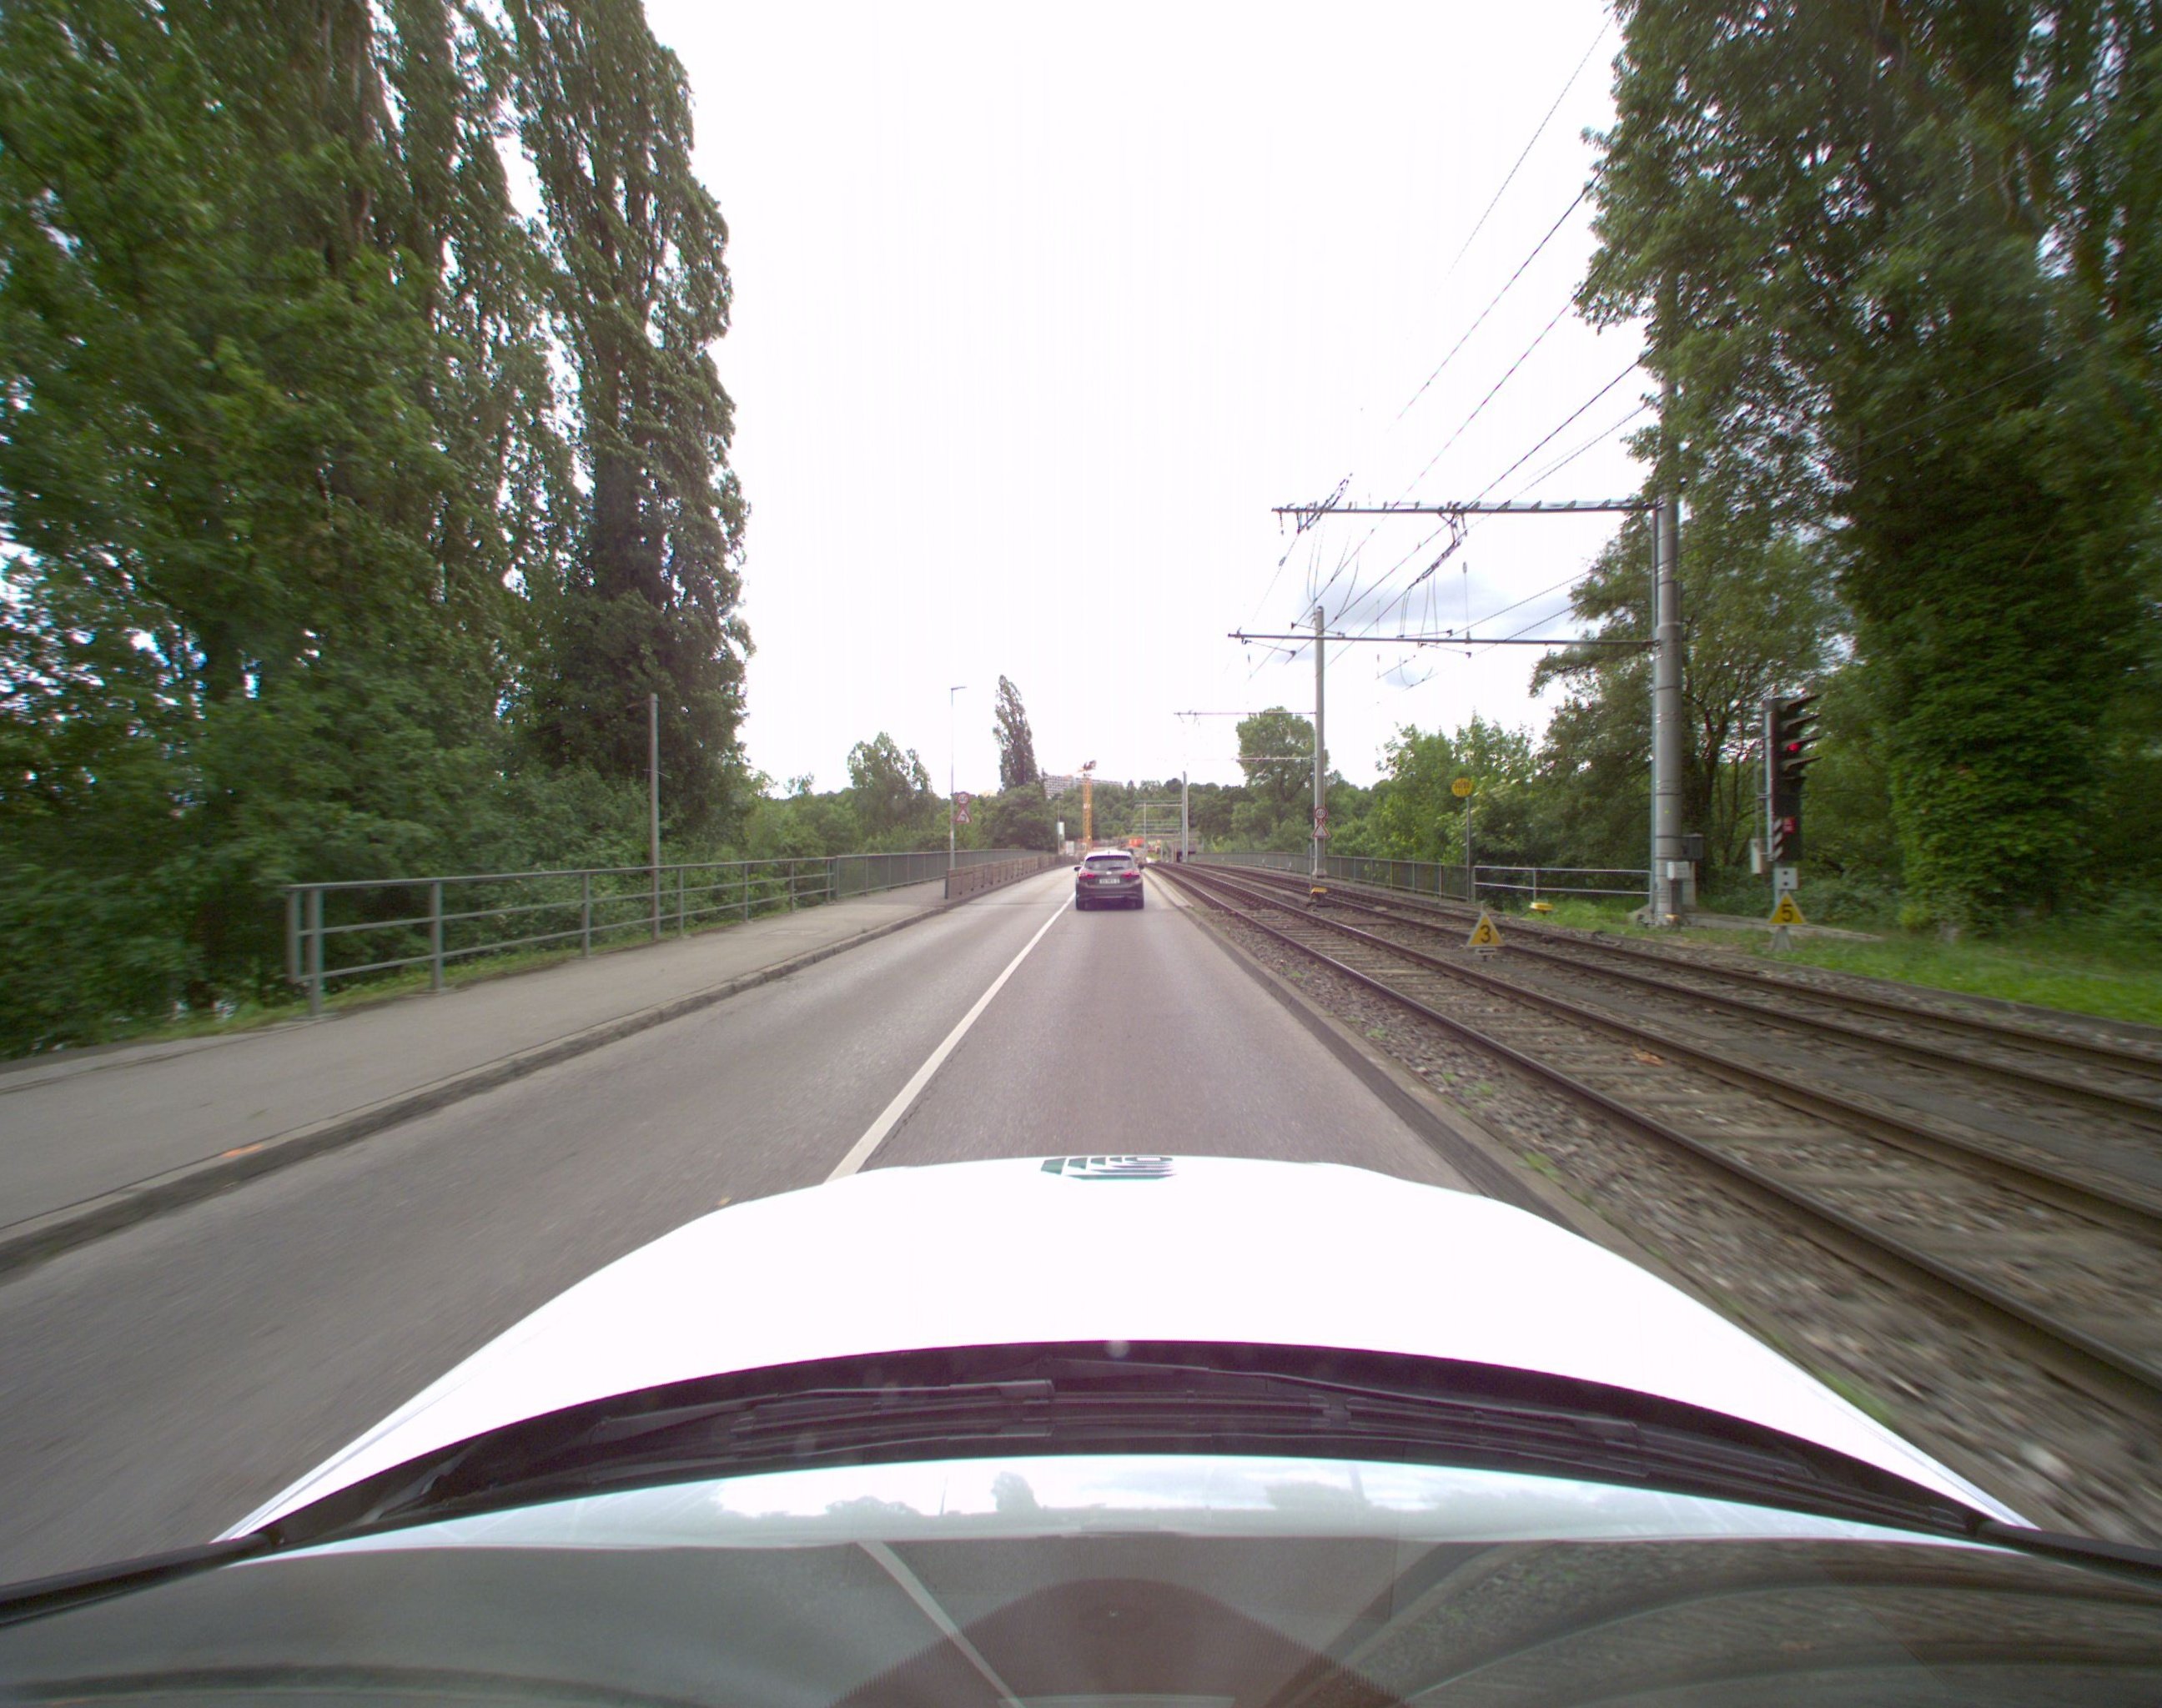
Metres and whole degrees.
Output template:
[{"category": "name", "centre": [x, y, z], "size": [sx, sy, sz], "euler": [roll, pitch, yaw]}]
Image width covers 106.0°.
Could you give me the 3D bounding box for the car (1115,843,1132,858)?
[{"category": "car", "centre": [4.739, -0.366, 91.203], "size": [1.674, 1.606, 4.309], "euler": [0, 1, 0]}]

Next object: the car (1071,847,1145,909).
[{"category": "car", "centre": [0.654, 0.632, 22.428], "size": [1.824, 1.510, 3.998], "euler": [-1, -1, -1]}]

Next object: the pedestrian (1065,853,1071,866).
[{"category": "pedestrian", "centre": [-1.778, 0.743, 111.967], "size": [0.718, 1.839, 0.723], "euler": [-1, -1, 2]}]

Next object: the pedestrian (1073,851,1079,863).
[{"category": "pedestrian", "centre": [-0.716, 0.419, 111.235], "size": [0.718, 1.701, 0.723], "euler": [-1, -1, 2]}]

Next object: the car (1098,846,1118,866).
[{"category": "car", "centre": [2.365, 0.161, 69.935], "size": [1.673, 1.606, 4.312], "euler": [0, 1, 3]}]
